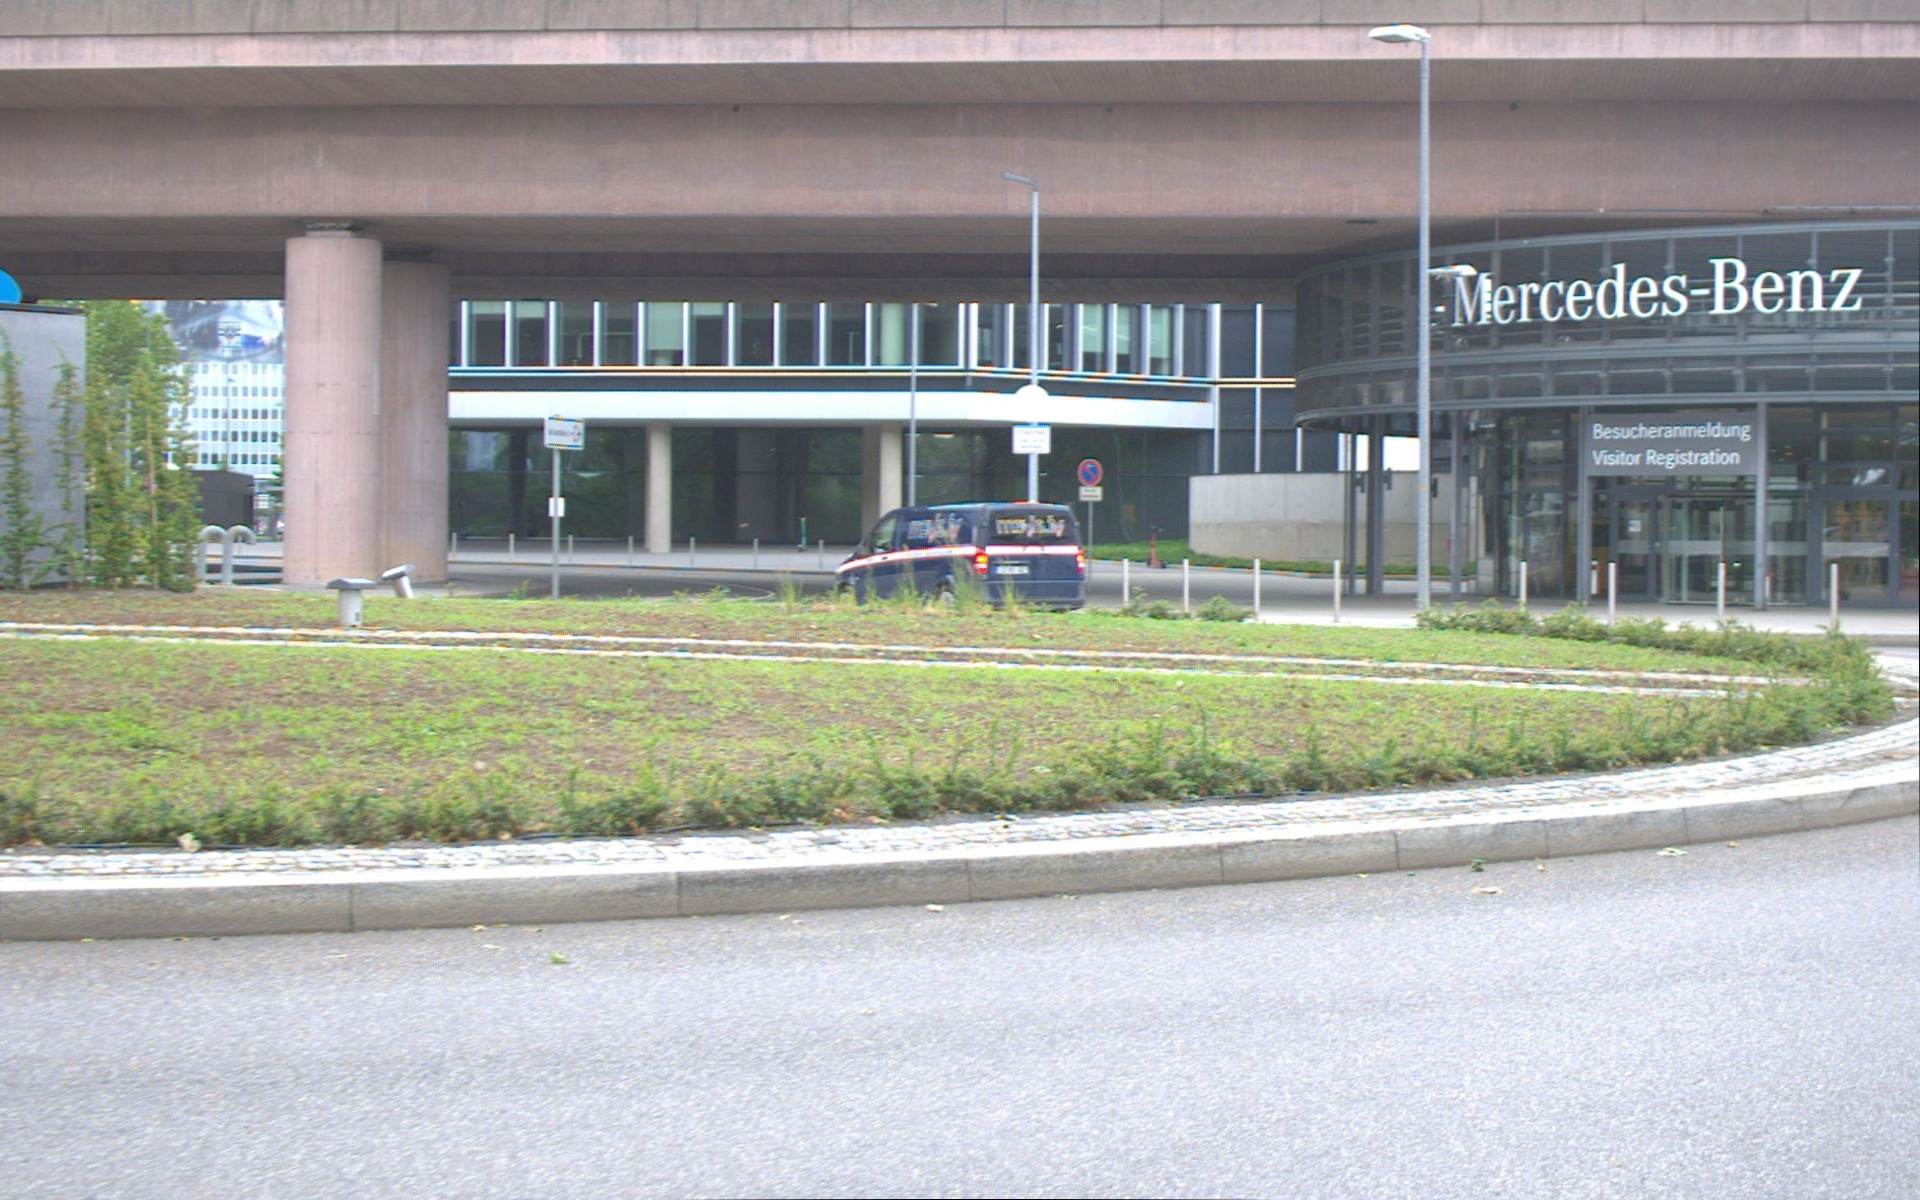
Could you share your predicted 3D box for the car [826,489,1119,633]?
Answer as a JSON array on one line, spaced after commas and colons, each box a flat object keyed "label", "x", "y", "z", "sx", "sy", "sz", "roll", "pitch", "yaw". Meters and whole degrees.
[{"label": "car", "x": 0.117, "y": -0.603, "z": 51.206, "sx": 2.276, "sy": 2.007, "sz": 4.784, "roll": 1, "pitch": 1, "yaw": -29}]
